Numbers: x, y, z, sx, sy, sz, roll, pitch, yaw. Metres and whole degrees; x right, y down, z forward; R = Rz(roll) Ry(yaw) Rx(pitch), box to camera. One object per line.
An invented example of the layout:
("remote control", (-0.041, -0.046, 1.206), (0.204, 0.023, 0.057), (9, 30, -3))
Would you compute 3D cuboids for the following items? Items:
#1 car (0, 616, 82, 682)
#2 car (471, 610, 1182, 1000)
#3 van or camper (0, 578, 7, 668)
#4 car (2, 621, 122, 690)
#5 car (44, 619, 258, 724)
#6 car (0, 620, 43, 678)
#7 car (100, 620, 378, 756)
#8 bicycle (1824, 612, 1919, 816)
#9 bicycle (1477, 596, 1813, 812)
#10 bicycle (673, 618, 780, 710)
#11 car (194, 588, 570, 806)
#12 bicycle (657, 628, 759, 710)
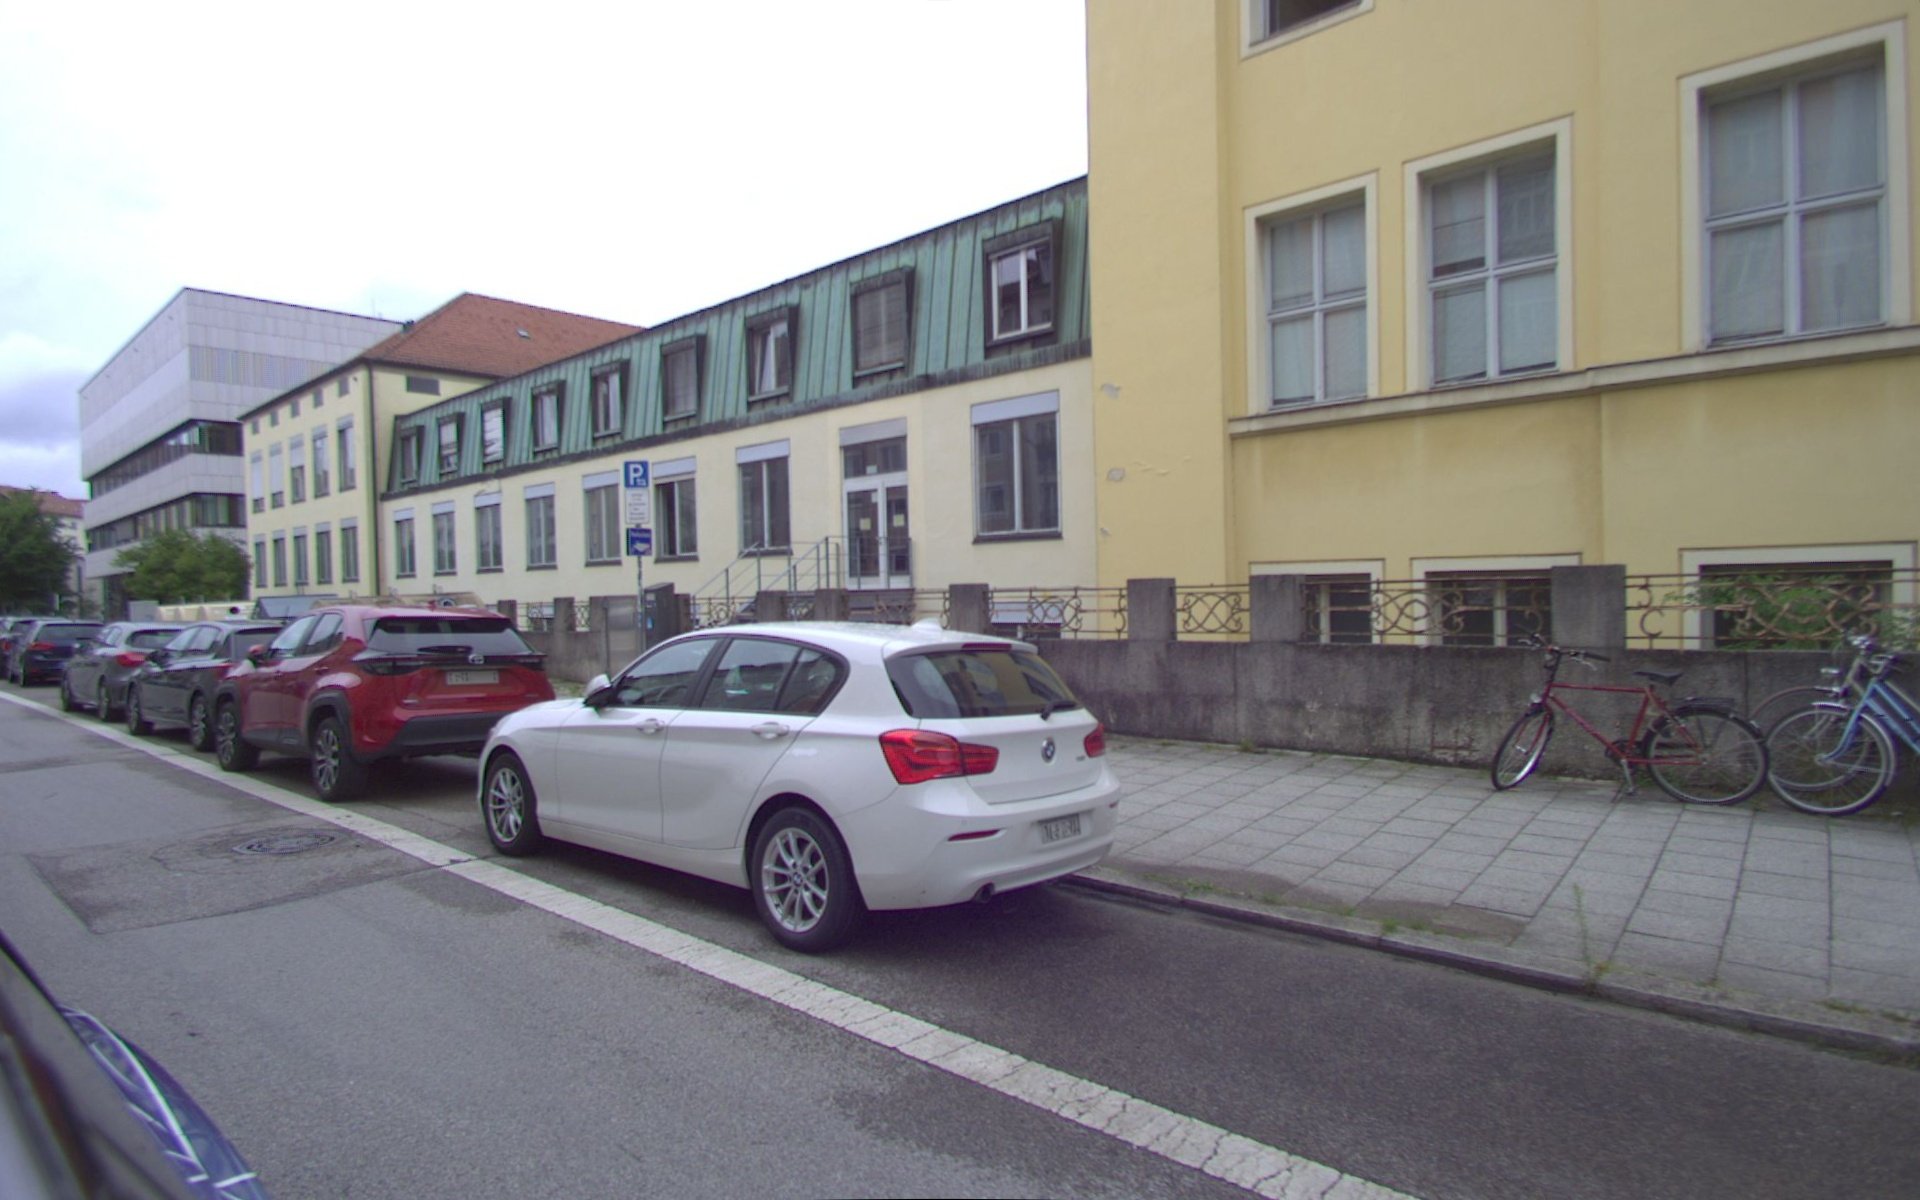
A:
("car", (-24.176, 1.229, 26.087), (3.864, 1.574, 1.678), (-1, -2, 39))
("car", (-0.965, 0.794, 5.603), (3.994, 1.408, 1.658), (-1, -2, 40))
("van or camper", (-32.969, 0.758, 32.639), (5.558, 2.829, 2.118), (-1, -1, 34))
("car", (-20.455, 1.210, 23.001), (4.000, 1.415, 1.677), (-1, -2, 43))
("car", (-12.676, 1.029, 15.778), (4.123, 1.415, 1.776), (-1, -2, 39))
("car", (-27.708, 1.378, 28.950), (3.835, 1.574, 1.621), (-1, -2, 40))
("car", (-8.916, 0.965, 12.420), (3.984, 1.415, 1.659), (-1, -2, 37))
("bicycle", (5.788, 0.632, 5.377), (0.578, 1.085, 1.721), (-4, 2, -36))
("bicycle", (4.416, 0.610, 6.614), (1.718, 1.206, 0.579), (-1, 2, 45))
("bicycle", (-3.285, 0.855, 14.121), (1.939, 1.181, 0.419), (-1, 2, 45))
("car", (-5.397, 0.755, 9.255), (3.993, 1.578, 1.658), (-1, -2, 39))
("bicycle", (-3.424, 0.902, 13.654), (1.741, 1.002, 0.450), (-1, 2, 45))
